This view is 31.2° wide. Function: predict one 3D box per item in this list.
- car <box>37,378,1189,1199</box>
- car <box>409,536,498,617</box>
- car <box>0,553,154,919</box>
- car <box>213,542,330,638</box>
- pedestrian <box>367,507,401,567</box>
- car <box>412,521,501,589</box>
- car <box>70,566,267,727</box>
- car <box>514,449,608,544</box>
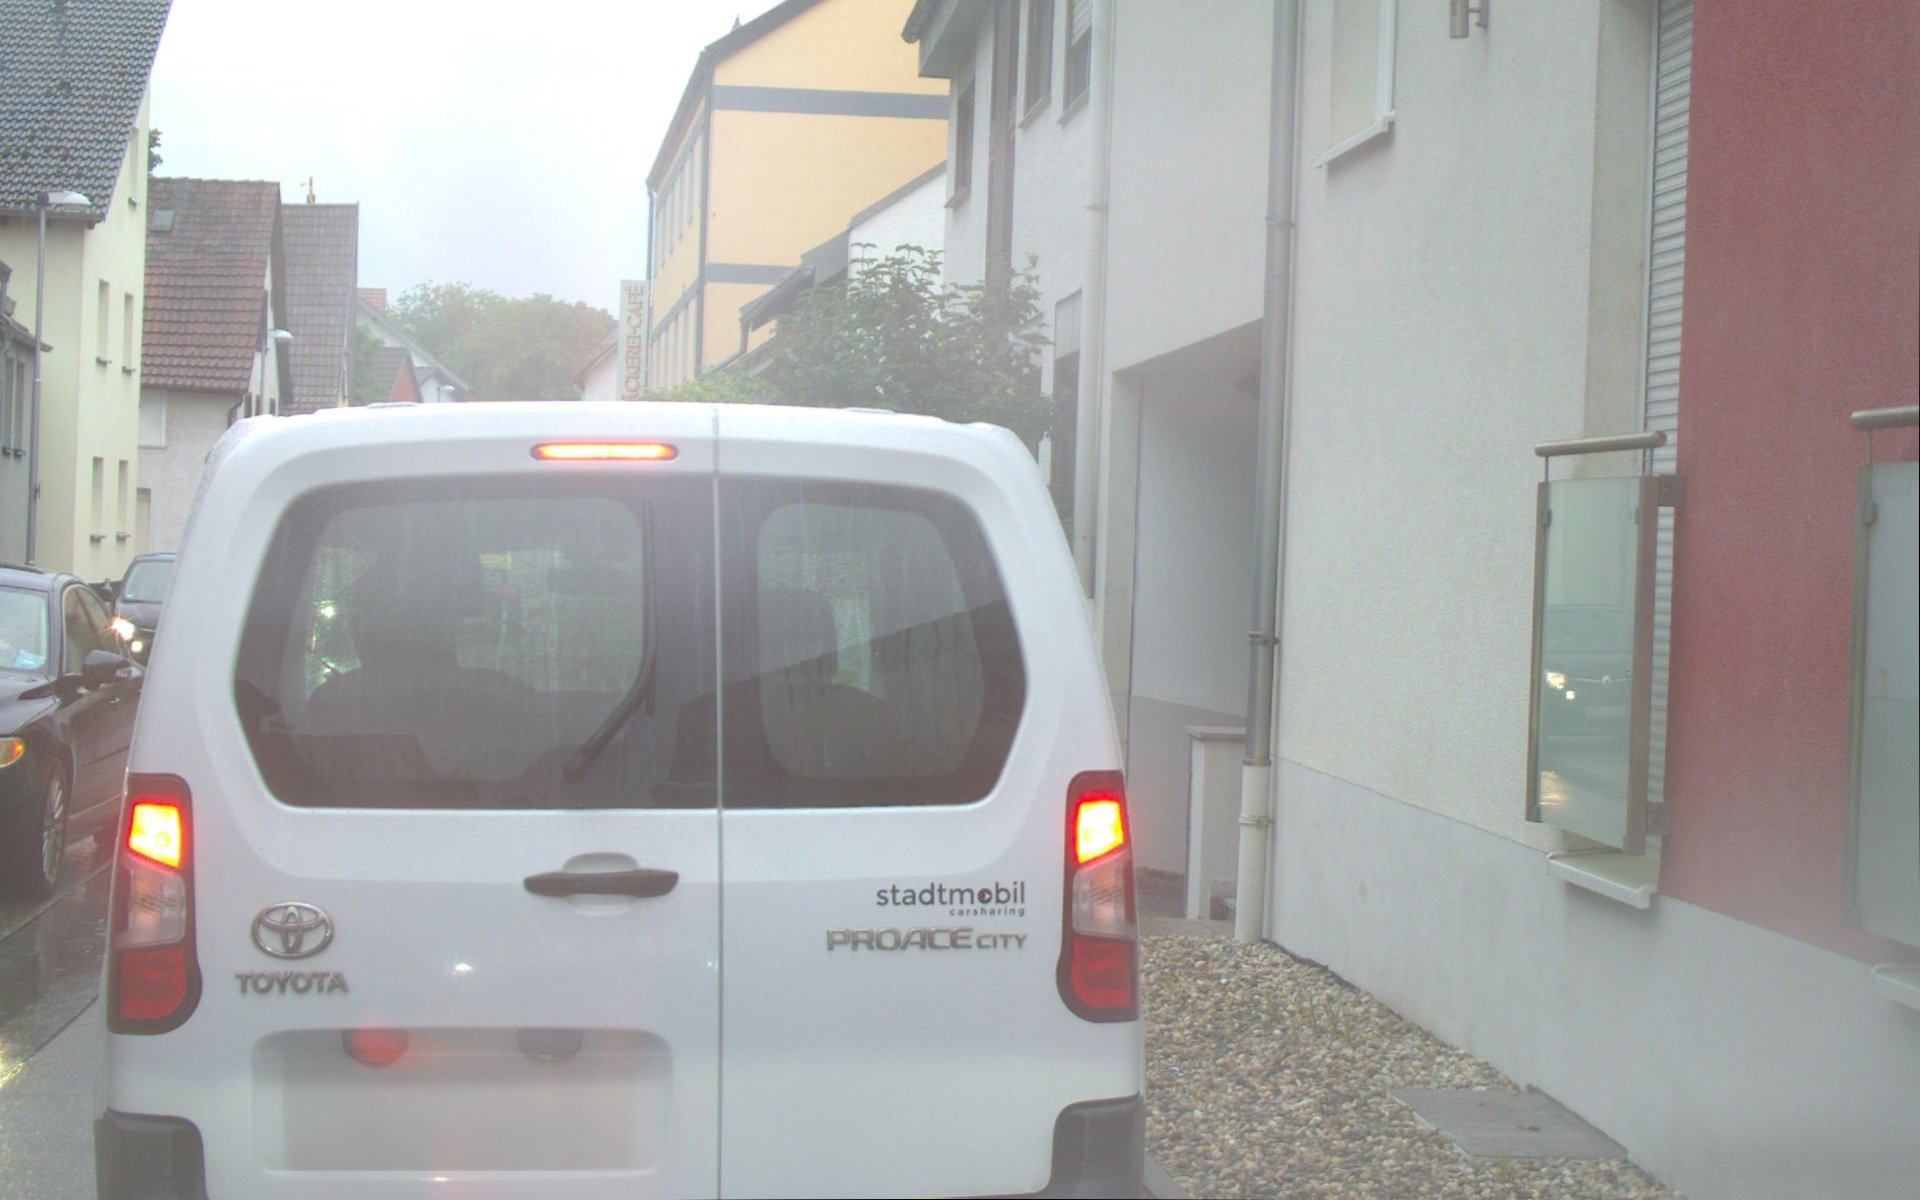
[{"bbox_3d":[-0.833,0.537,7.343,1.774,1.774,4.001,1,1,-9],"label":"car"},{"bbox_3d":[-9.653,-0.463,65.397,1.560,1.472,4.001,1,1,-10],"label":"car"},{"bbox_3d":[-4.953,0.520,16.212,1.695,1.504,4.342,2,0,-6],"label":"car"},{"bbox_3d":[-11.961,-0.202,59.903,1.832,1.550,4.241,2,0,-10],"label":"car"},{"bbox_3d":[-18.382,-2.012,109.762,1.050,1.886,0.877,1,0,-9],"label":"pedestrian"},{"bbox_3d":[-10.765,-0.958,73.353,1.779,1.390,4.001,1,1,-10],"label":"car"},{"bbox_3d":[-8.123,0.442,35.521,1.604,1.508,3.689,2,1,-8],"label":"car"},{"bbox_3d":[-8.831,-2.271,76.371,1.993,2.007,4.001,1,1,-6],"label":"car"}]
